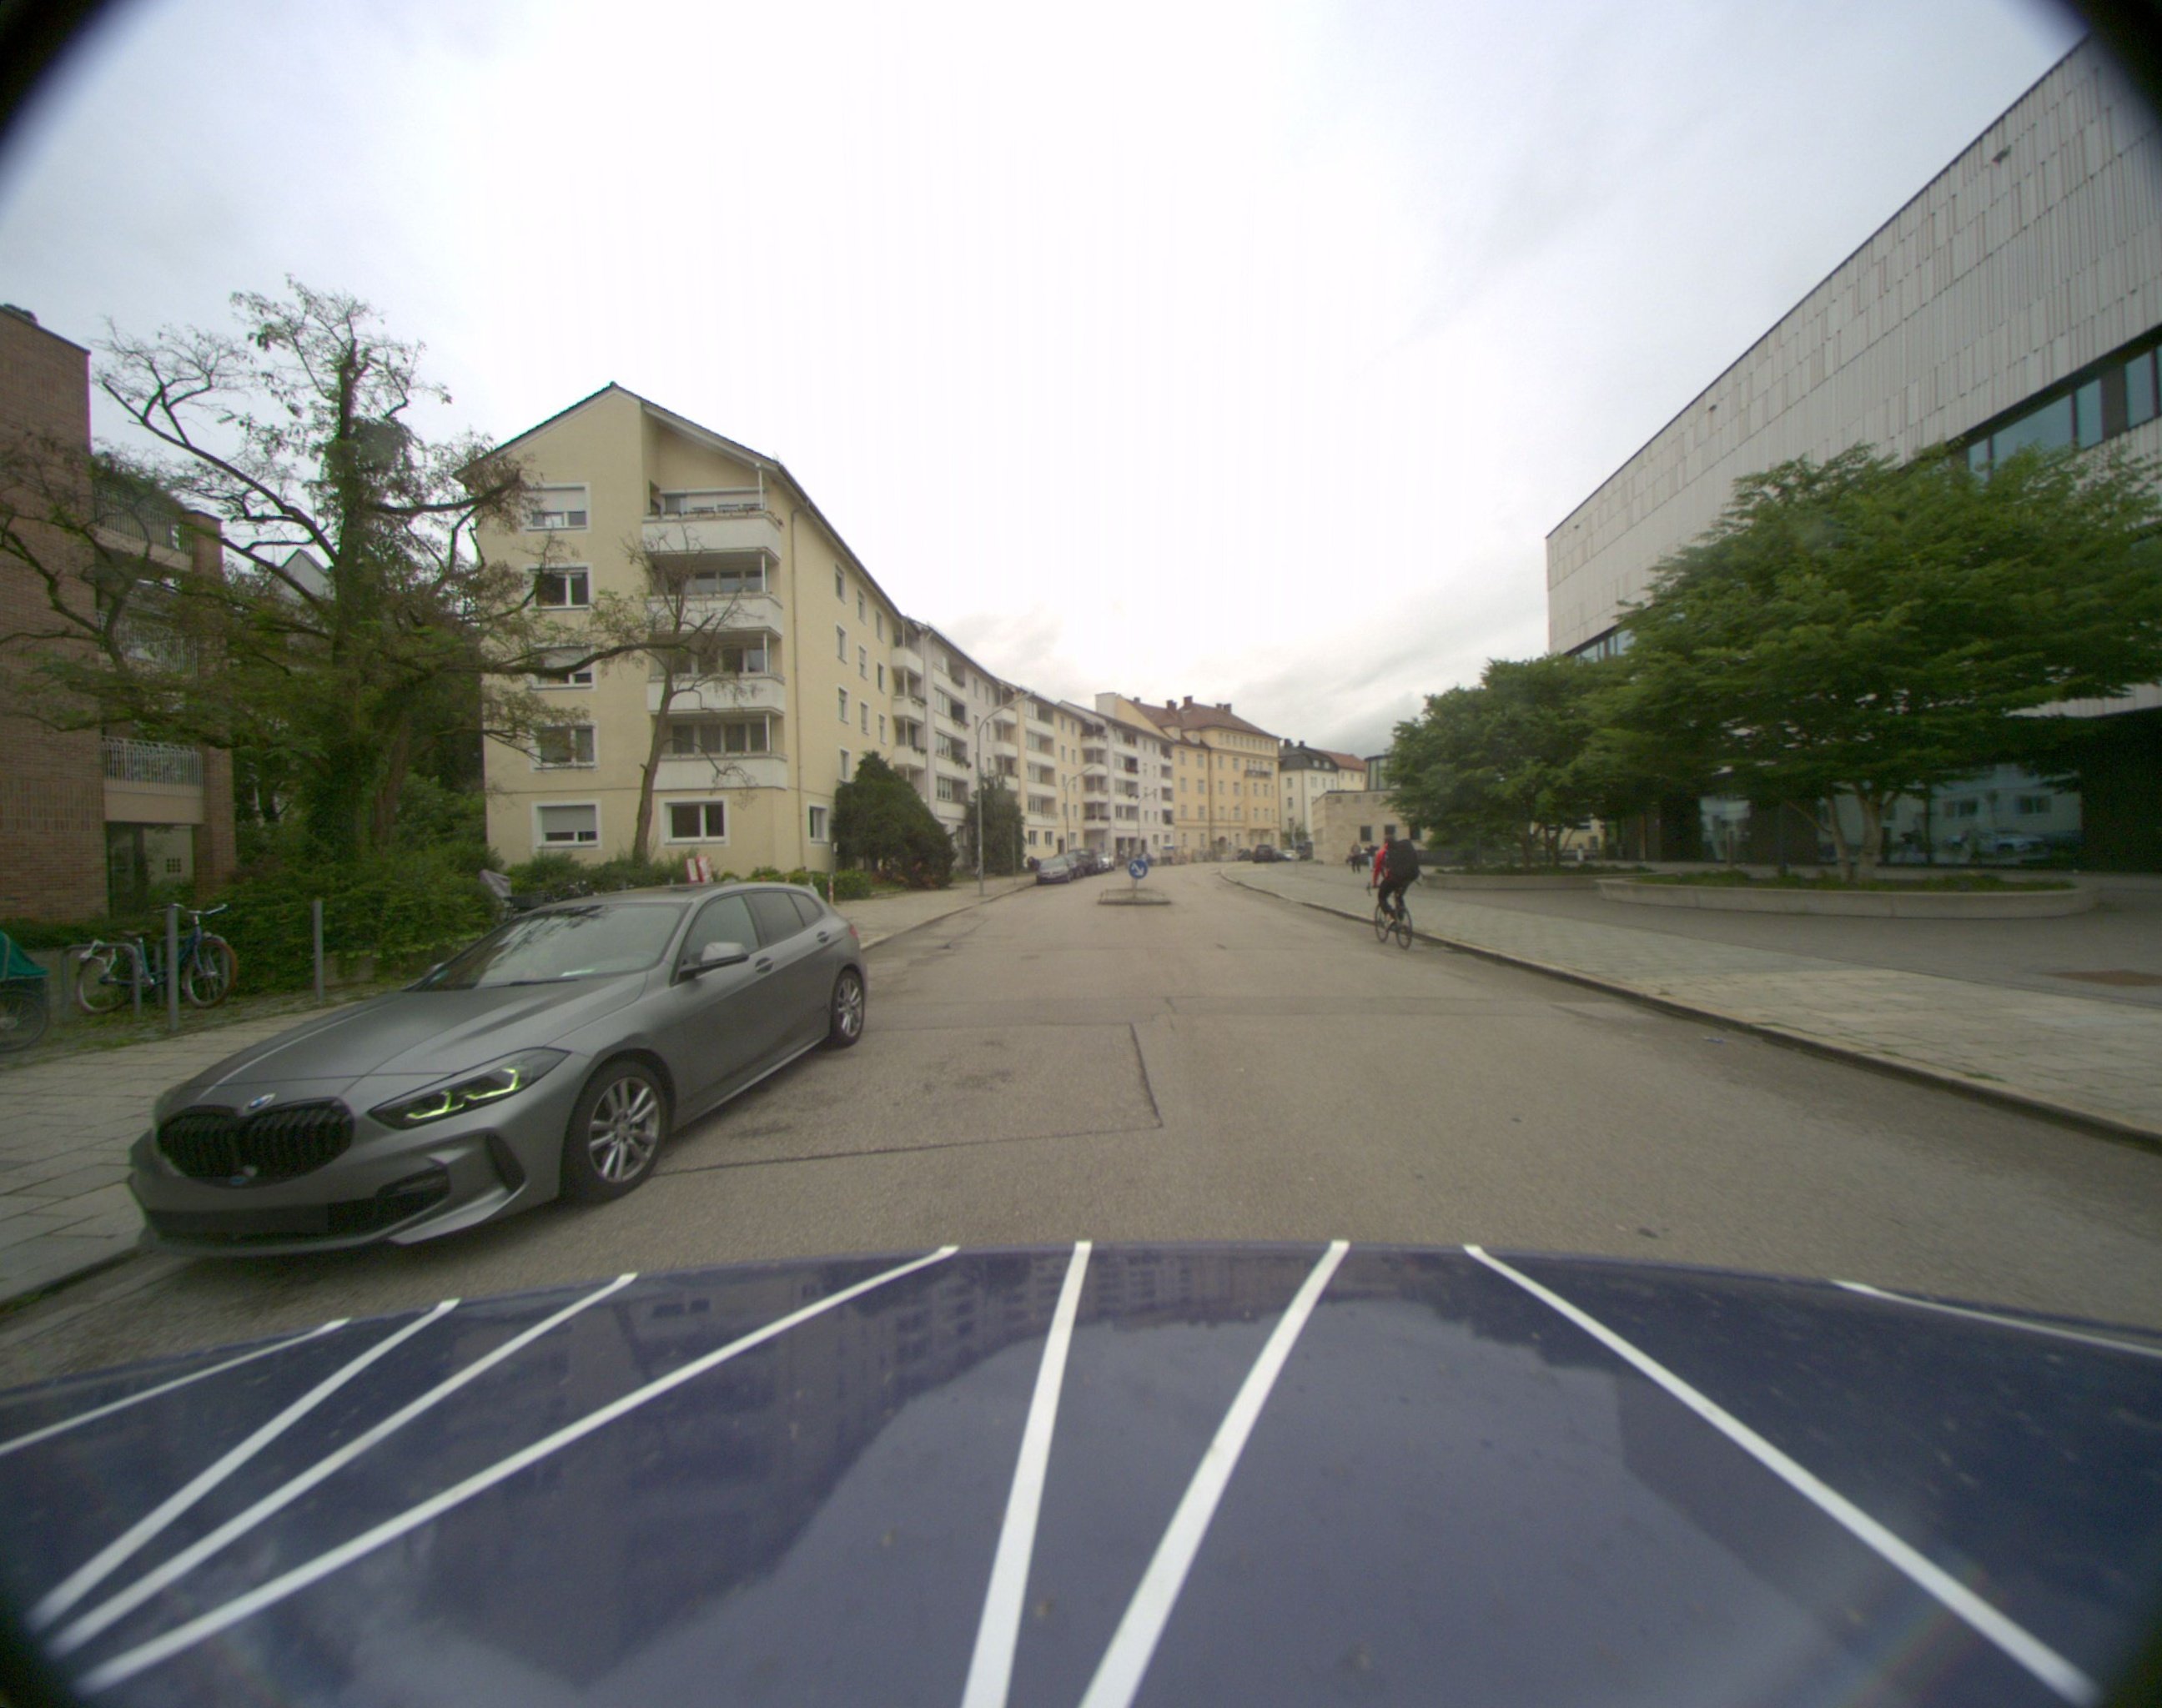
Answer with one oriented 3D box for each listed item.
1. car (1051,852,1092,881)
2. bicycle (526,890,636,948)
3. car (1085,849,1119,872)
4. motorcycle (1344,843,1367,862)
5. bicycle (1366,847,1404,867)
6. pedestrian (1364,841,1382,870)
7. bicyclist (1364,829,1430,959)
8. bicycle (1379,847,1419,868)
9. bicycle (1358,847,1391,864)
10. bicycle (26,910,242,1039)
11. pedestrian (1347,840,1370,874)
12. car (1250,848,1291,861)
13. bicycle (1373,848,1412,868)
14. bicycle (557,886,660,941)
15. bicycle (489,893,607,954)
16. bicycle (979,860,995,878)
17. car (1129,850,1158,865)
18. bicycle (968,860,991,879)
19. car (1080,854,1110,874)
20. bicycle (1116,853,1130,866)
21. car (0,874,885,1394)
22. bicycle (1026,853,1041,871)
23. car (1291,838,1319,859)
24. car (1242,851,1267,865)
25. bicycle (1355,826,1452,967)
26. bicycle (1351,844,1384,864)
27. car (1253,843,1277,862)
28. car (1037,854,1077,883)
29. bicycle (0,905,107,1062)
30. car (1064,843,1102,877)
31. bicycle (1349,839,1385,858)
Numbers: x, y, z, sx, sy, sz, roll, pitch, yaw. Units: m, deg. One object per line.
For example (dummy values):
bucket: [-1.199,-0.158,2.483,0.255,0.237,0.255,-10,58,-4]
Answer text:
car: [-0.520,0.725,47.032,1.661,1.556,4.517,-3,0,9]
bicycle: [-9.419,1.213,14.328,1.704,0.960,0.546,-3,-1,4]
car: [1.776,0.546,62.050,2.030,1.668,4.616,-3,-1,9]
motorcycle: [21.710,-0.149,60.025,1.567,1.397,0.515,-4,-1,11]
bicycle: [19.213,0.193,48.075,2.050,1.104,0.617,-3,-1,6]
pedestrian: [16.541,0.094,43.082,0.645,1.591,0.605,-3,-1,-16]
bicyclist: [5.057,0.628,12.206,0.768,2.002,0.768,2,0,8]
bicycle: [18.860,0.195,45.060,2.050,1.104,0.617,-3,-1,6]
bicycle: [20.779,0.093,53.823,2.049,1.104,0.617,-3,-1,8]
bicycle: [-10.030,1.239,8.118,1.364,1.166,0.420,-3,-1,-42]
pedestrian: [15.068,0.153,41.240,0.788,1.772,1.014,-3,1,-2]
car: [21.006,0.038,84.373,4.007,1.365,1.747,0,2,-9]
bicycle: [19.003,0.250,46.322,2.050,1.104,0.617,-3,-1,6]
bicycle: [-9.390,1.174,15.123,1.704,0.960,0.546,-3,-1,4]
bicycle: [-9.457,1.231,13.503,1.704,0.960,0.546,-3,-1,4]
bicycle: [-5.910,0.924,47.920,0.468,1.111,1.945,-1,0,9]
car: [6.352,0.354,76.552,1.832,1.434,4.635,3,1,18]
bicycle: [-6.101,0.924,45.659,0.467,1.111,1.947,-1,0,21]
car: [1.114,0.734,57.358,1.661,1.341,3.806,-3,0,9]
bicycle: [4.365,0.533,78.639,0.811,1.315,2.778,0,1,17]
car: [-2.883,0.988,4.655,1.929,1.503,4.393,-4,0,3]
bicycle: [-3.790,0.623,60.759,0.744,1.359,2.472,1,0,6]
car: [29.019,-0.710,98.277,2.145,2.559,6.223,0,1,30]
car: [25.016,0.574,109.352,1.838,1.719,3.737,-4,-1,43]
bicycle: [5.103,0.619,12.240,0.749,2.002,2.850,0,0,9]
bicycle: [21.078,-0.016,55.962,2.102,1.343,0.614,-3,-1,8]
car: [18.362,-0.152,75.692,1.996,1.761,4.821,-2,-1,17]
car: [-1.276,0.762,42.204,1.758,1.388,4.045,-4,1,3]
bicycle: [-9.205,1.117,5.749,0.535,1.241,2.412,-3,1,-2]
car: [0.186,0.427,51.537,1.750,2.069,4.519,-3,-1,9]
bicycle: [18.602,-0.367,49.399,2.050,1.104,0.617,-3,-1,2]
